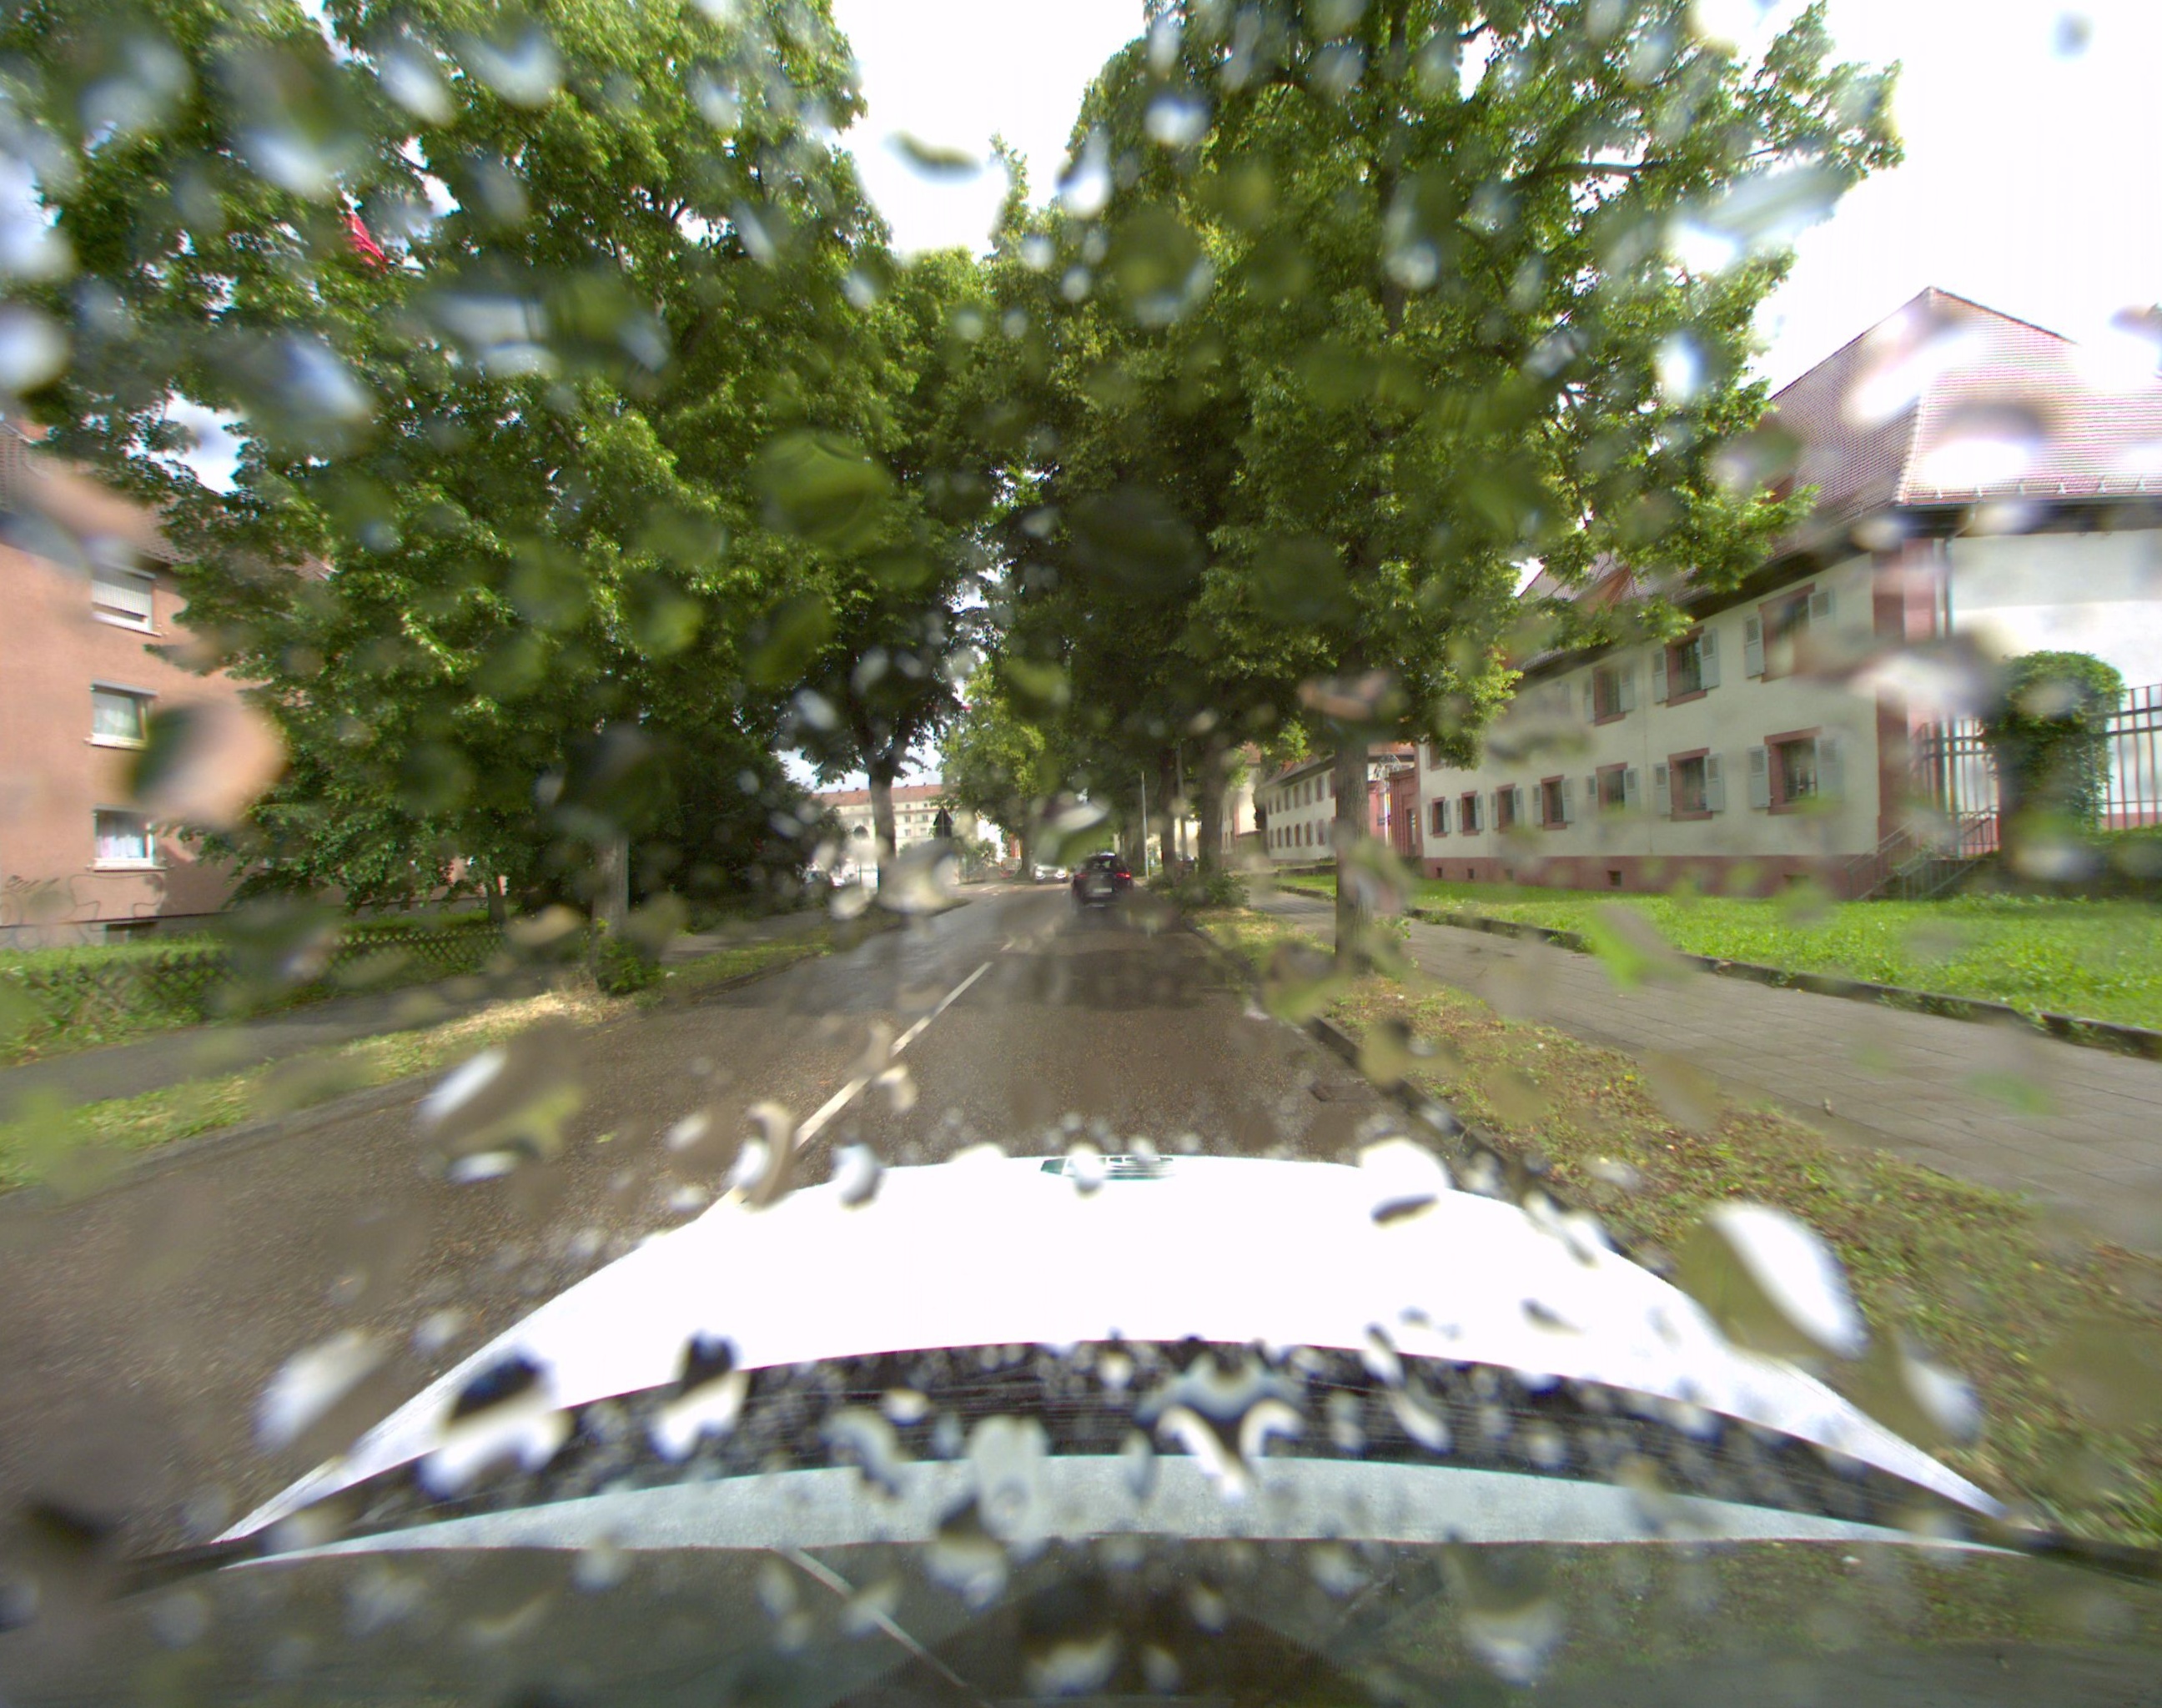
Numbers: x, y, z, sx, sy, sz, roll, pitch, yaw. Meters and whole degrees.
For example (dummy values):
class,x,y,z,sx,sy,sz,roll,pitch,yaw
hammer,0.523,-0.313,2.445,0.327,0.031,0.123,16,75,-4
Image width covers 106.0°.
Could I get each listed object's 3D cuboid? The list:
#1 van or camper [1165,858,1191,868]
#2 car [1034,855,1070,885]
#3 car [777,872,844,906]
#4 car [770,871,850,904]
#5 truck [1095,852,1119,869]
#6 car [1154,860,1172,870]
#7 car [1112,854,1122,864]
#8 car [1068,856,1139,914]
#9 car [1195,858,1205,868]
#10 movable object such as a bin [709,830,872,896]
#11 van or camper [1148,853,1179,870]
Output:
class,x,y,z,sx,sy,sz,roll,pitch,yaw
van or camper,18.822,1.733,158.188,4.856,1.926,2.132,-2,0,2
car,-1.771,0.992,50.989,1.879,1.713,4.231,-3,0,2
car,-12.229,1.572,37.025,1.617,1.420,3.872,-1,-2,2
car,-14.349,1.755,43.220,3.582,1.534,1.743,-3,0,10
truck,4.328,1.042,137.371,2.803,2.656,8.220,-2,0,-7
car,17.117,2.365,169.653,3.386,1.781,1.765,-5,-1,10
car,8.166,1.252,186.484,1.984,2.014,4.005,-3,-4,5
car,0.624,0.858,24.126,1.888,1.522,3.999,-2,-1,0
car,22.454,1.684,154.064,1.733,1.684,3.878,-5,-1,8
movable object such as a bin,-19.695,0.592,55.540,9.770,4.115,3.369,-2,0,3
van or camper,14.223,1.298,140.962,5.016,2.596,2.168,-3,-1,0
